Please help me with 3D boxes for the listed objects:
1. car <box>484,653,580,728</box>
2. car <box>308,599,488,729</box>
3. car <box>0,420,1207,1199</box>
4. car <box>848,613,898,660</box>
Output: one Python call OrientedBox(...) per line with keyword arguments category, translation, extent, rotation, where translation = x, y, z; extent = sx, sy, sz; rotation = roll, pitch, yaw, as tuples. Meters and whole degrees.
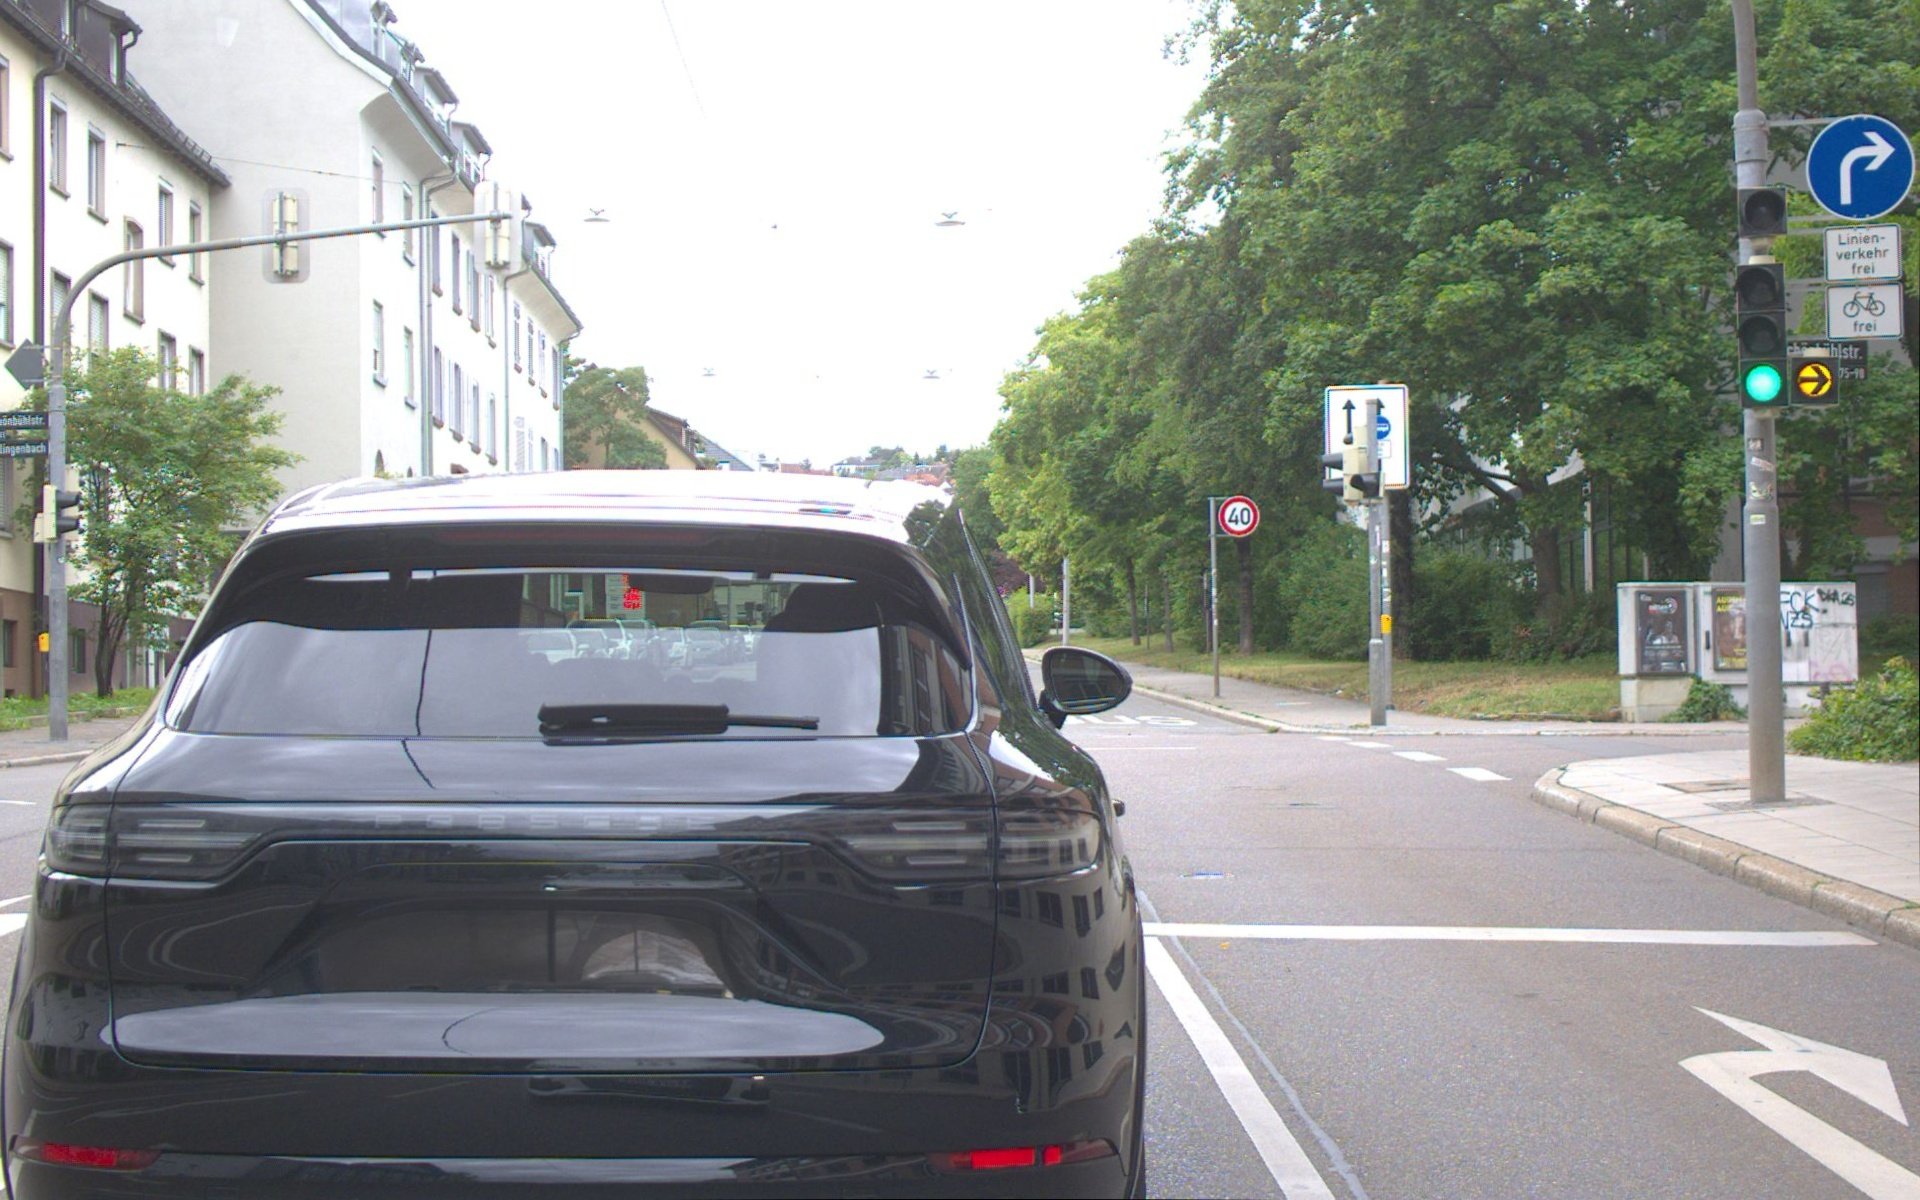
OrientedBox(category="car", translation=(-8.637, 1.813, 69.595), extent=(1.669, 1.357, 4.001), rotation=(0, 1, -3))
OrientedBox(category="car", translation=(-7.396, 0.809, 45.530), extent=(1.664, 1.514, 3.740), rotation=(-4, 0, 0))
OrientedBox(category="car", translation=(-0.659, 0.567, 7.161), extent=(1.993, 1.691, 4.000), rotation=(1, 1, -1))
OrientedBox(category="car", translation=(-3.085, 1.276, 121.657), extent=(1.688, 1.547, 3.889), rotation=(1, 1, -2))
